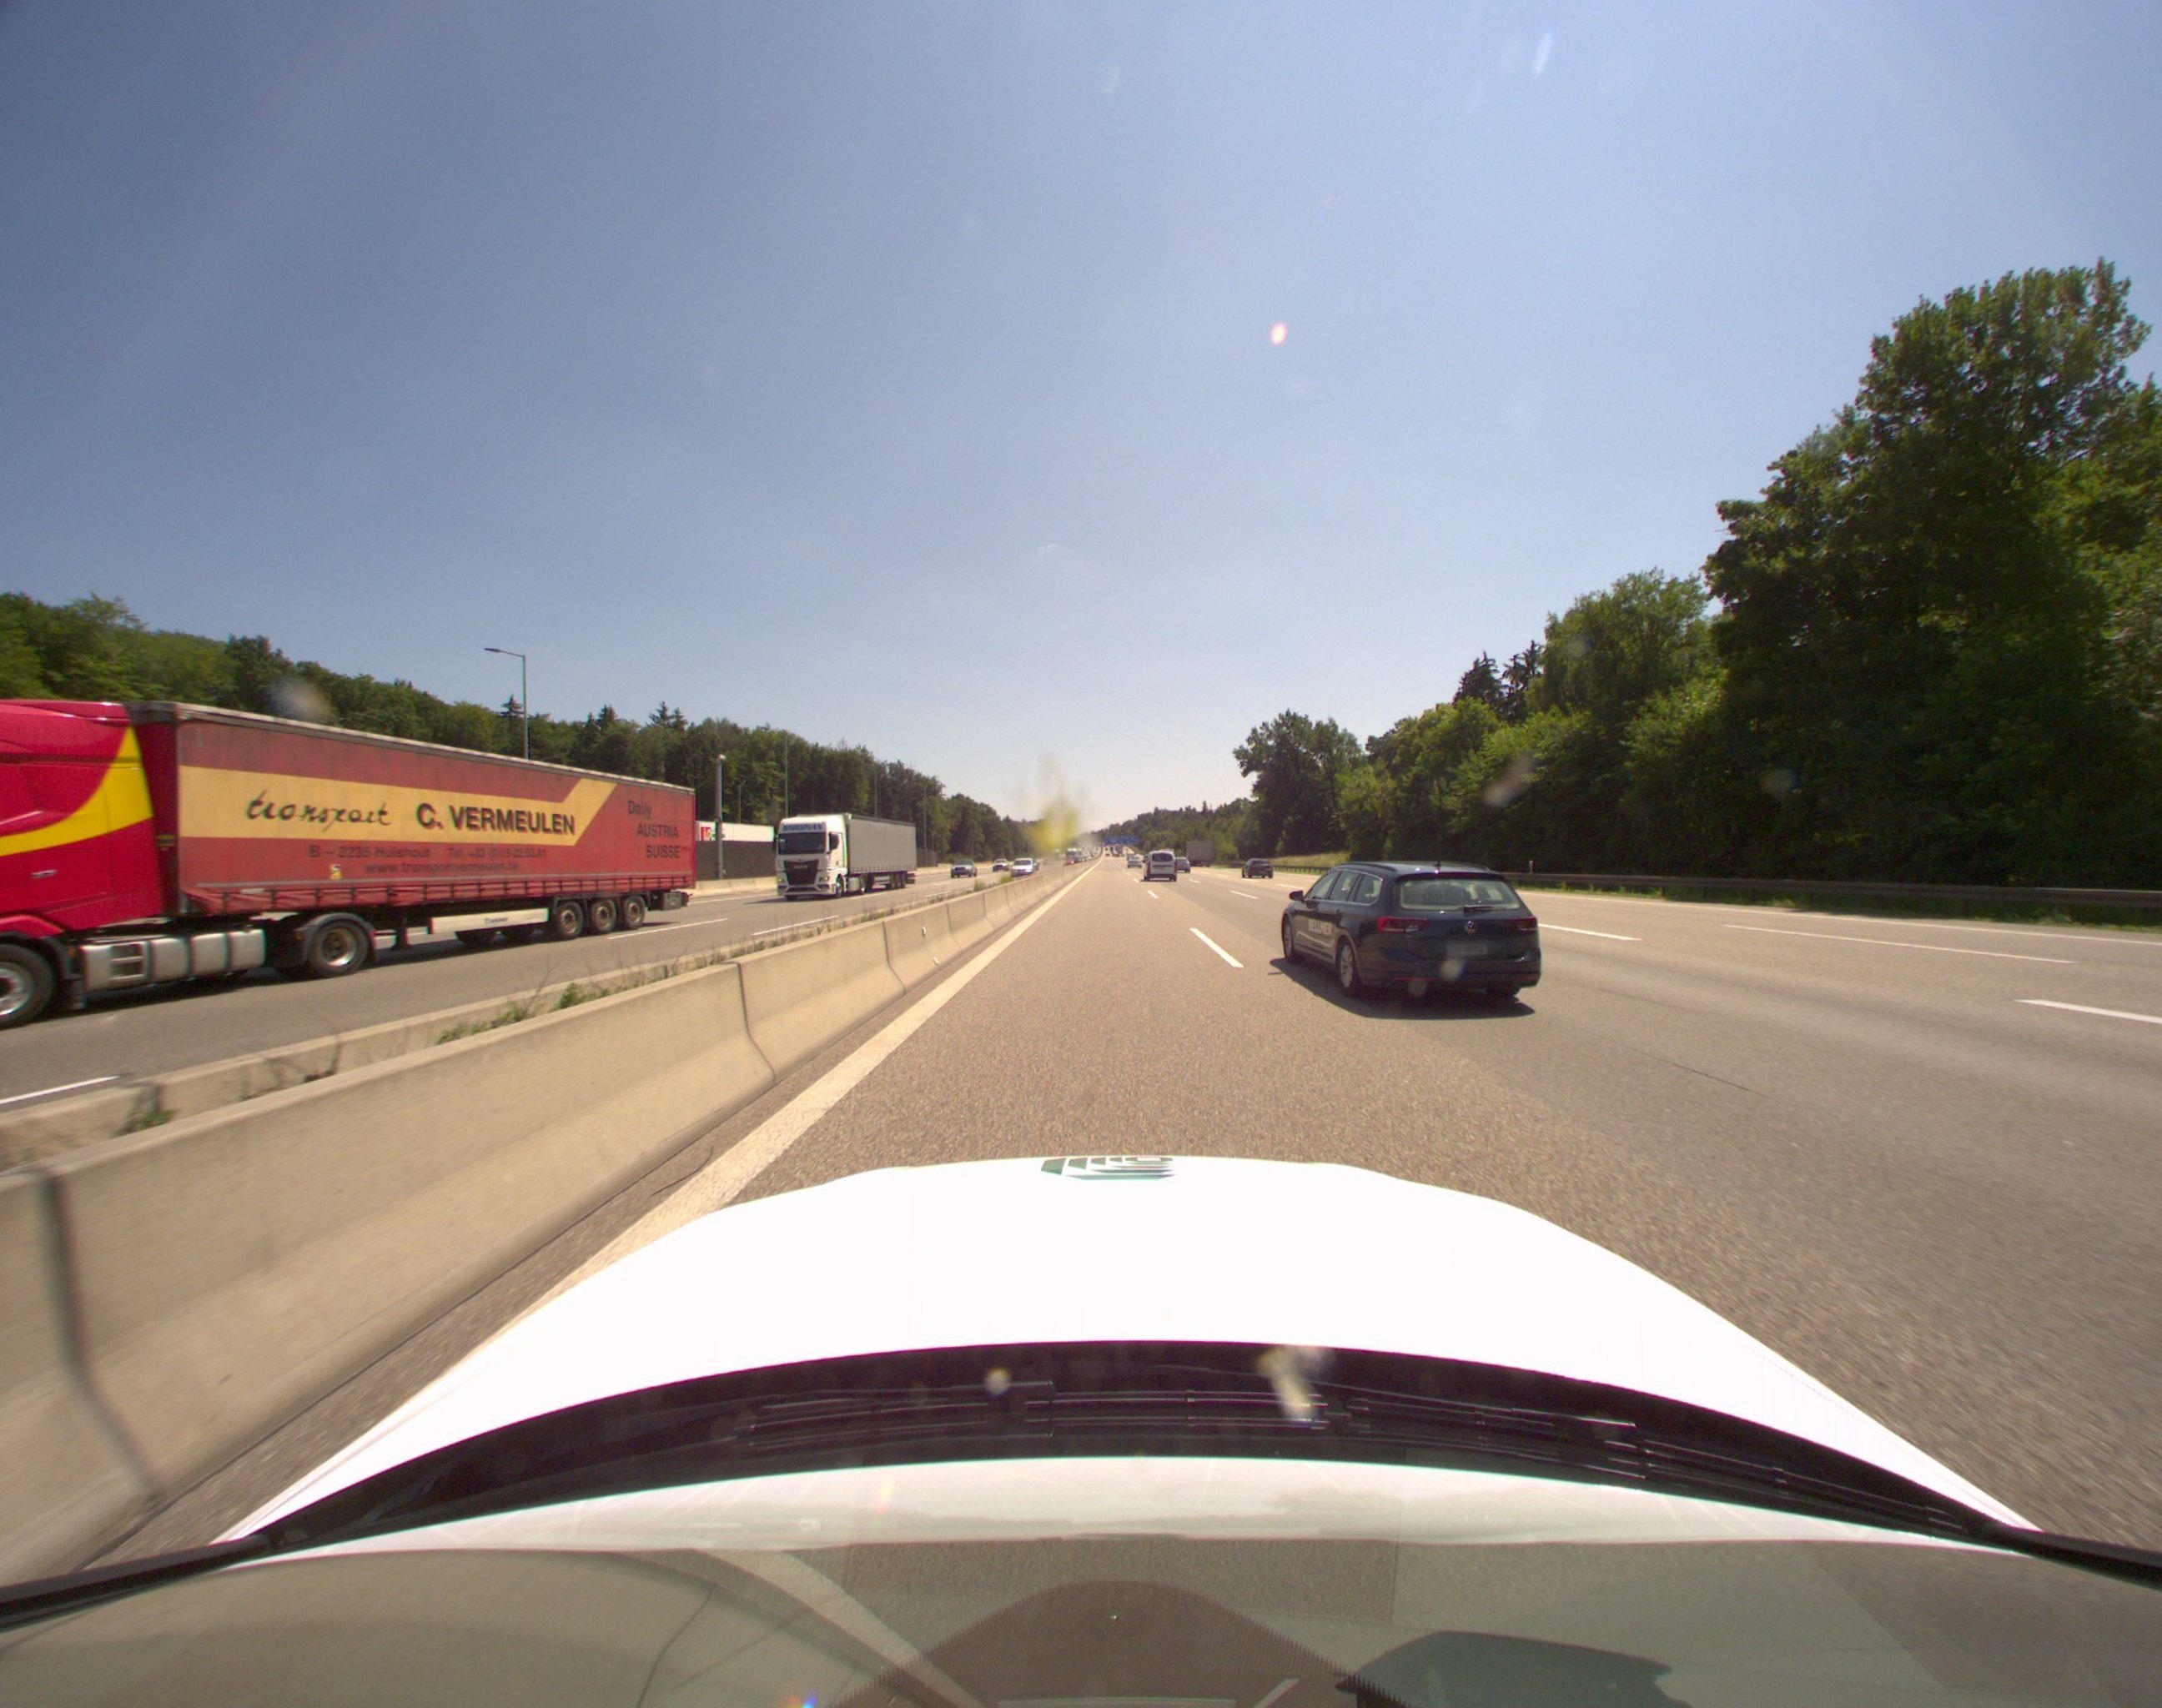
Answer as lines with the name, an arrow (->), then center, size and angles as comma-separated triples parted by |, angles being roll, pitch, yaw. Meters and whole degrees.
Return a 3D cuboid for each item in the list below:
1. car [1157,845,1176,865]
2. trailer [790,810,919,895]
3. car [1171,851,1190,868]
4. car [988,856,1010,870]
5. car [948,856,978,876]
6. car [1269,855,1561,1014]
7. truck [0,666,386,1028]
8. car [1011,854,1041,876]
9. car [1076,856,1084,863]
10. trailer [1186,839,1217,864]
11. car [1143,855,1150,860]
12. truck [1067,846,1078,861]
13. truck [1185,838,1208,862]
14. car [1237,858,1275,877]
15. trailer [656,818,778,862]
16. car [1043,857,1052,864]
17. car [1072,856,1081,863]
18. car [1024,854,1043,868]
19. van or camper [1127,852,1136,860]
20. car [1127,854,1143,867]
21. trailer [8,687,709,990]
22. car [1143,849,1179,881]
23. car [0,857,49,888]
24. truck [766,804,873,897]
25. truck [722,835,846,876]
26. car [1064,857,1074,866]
car -> 11.643, 0.088, 111.403 | 2.135, 2.652, 5.712 | 0, 1, 2
trailer -> -12.156, -0.058, 45.773 | 2.744, 4.001, 14.473 | -1, 0, 2
car -> 9.436, 0.497, 77.366 | 1.498, 1.500, 3.651 | -1, 0, 1
car -> -10.586, 1.135, 105.494 | 1.986, 1.774, 5.926 | -1, 0, 2
car -> -11.188, 1.131, 77.490 | 1.986, 1.774, 5.040 | -1, 0, 2
car -> 3.660, 0.751, 10.015 | 1.723, 1.447, 4.964 | -1, 0, 2
truck -> -13.285, -0.054, 10.732 | 2.518, 4.049, 6.475 | -1, 0, 2
car -> -4.375, 0.880, 65.411 | 1.777, 1.643, 5.465 | -1, 0, 2
car -> -0.213, 1.368, 207.709 | 1.987, 1.663, 4.971 | -2, 0, 1
trailer -> 19.941, -0.444, 135.885 | 3.276, 3.930, 13.894 | 1, 1, 1
car -> 18.341, 1.063, 228.683 | 1.829, 1.338, 3.644 | -1, 0, 1
truck -> -2.455, -0.148, 241.696 | 3.036, 4.137, 6.951 | -1, 0, 1
truck -> 20.107, -0.717, 142.378 | 3.242, 4.106, 5.990 | 1, 1, 1
car -> 12.603, 0.926, 58.966 | 1.666, 1.273, 4.285 | -1, 0, -3
trailer -> -29.033, -0.996, 66.159 | 2.961, 3.124, 14.615 | -1, 0, 2
car -> -7.643, 1.403, 185.838 | 1.987, 1.621, 5.753 | -1, 0, 0
car -> -1.004, 1.254, 184.306 | 1.987, 1.663, 5.755 | -2, 0, 1
car -> -6.144, 0.849, 106.197 | 1.986, 1.774, 5.926 | -1, 0, 2
van or camper -> 16.318, 0.515, 262.838 | 2.635, 2.539, 6.504 | -1, 0, 2
car -> 7.121, 0.857, 107.824 | 1.836, 1.629, 4.555 | -1, 0, 2
trailer -> -13.049, -0.197, 18.128 | 2.561, 4.050, 14.187 | -1, 0, 2
car -> 4.837, 0.657, 49.854 | 1.852, 1.826, 4.614 | -1, 0, 2
car -> -72.825, 1.282, 56.044 | 3.948, 2.013, 2.013 | -1, 0, 35
truck -> -12.344, -0.131, 39.126 | 2.724, 4.031, 6.784 | -1, 0, 2
truck -> -42.535, 0.194, 117.493 | 16.805, 5.613, 3.409 | -1, 0, -44
car -> -2.188, 1.347, 149.693 | 1.724, 1.513, 5.046 | -1, 0, 2
